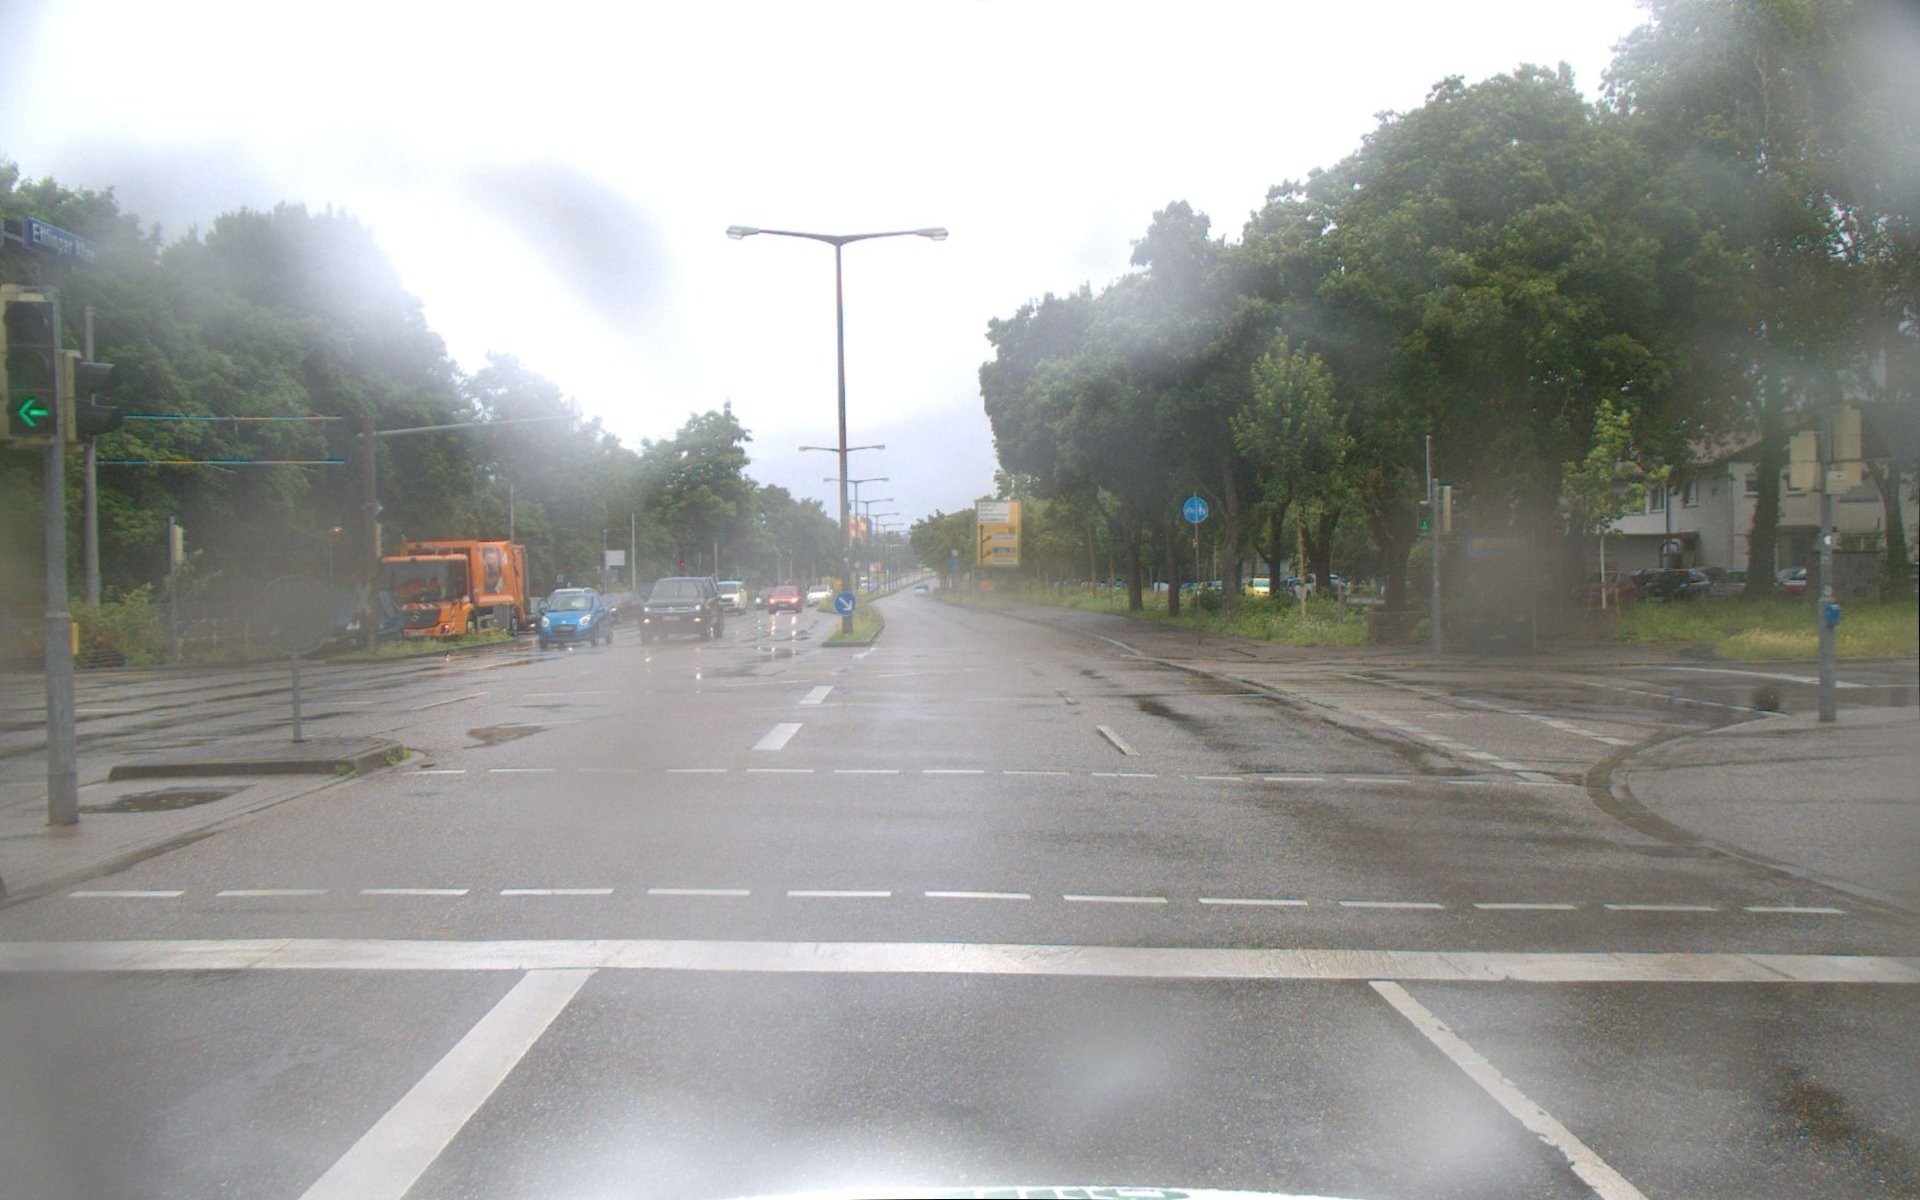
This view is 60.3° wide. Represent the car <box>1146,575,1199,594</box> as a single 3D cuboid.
[{"bbox_3d":[19.637,-1.452,152.776,4.483,1.673,1.997,1,0,-7],"label":"car"}]

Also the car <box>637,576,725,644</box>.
[{"bbox_3d":[-8.007,0.246,47.931,1.769,1.804,5.087,-2,1,-2],"label":"car"}]

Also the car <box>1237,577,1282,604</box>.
[{"bbox_3d":[17.364,-0.552,96.001,1.605,1.512,4.070,1,0,-4],"label":"car"}]

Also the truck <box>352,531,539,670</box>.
[{"bbox_3d":[-17.208,0.023,56.301,3.316,4.240,10.403,1,0,-2],"label":"truck"}]

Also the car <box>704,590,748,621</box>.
[{"bbox_3d":[-13.070,0.306,92.428,1.855,1.639,4.499,-1,1,-1],"label":"car"}]

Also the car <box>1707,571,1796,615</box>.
[{"bbox_3d":[27.822,-0.224,58.091,3.723,1.474,1.643,1,0,-44],"label":"car"}]

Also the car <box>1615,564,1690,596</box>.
[{"bbox_3d":[30.396,-0.879,72.707,1.541,1.339,3.699,1,0,-4],"label":"car"}]

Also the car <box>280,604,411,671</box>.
[{"bbox_3d":[-17.084,1.008,46.235,1.953,1.739,4.526,1,0,0],"label":"car"}]

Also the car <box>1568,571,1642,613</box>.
[{"bbox_3d":[24.005,-0.280,61.513,1.637,1.474,3.736,1,0,37],"label":"car"}]

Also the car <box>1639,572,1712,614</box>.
[{"bbox_3d":[26.075,-0.249,60.240,1.637,1.474,3.736,1,0,37],"label":"car"}]

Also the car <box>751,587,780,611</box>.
[{"bbox_3d":[-14.452,-0.098,123.260,1.672,1.670,4.330,-3,1,-1],"label":"car"}]

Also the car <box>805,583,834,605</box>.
[{"bbox_3d":[-10.920,-0.475,129.004,1.921,1.645,4.696,-2,1,-2],"label":"car"}]

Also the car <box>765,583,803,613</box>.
[{"bbox_3d":[-10.018,-0.105,94.459,1.765,1.597,4.427,-2,0,-2],"label":"car"}]

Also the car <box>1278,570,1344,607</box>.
[{"bbox_3d":[17.460,-0.573,82.516,1.954,1.747,4.875,-1,0,-4],"label":"car"}]

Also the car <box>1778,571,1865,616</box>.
[{"bbox_3d":[29.468,-0.200,56.546,3.723,1.474,1.577,1,0,-44],"label":"car"}]

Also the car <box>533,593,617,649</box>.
[{"bbox_3d":[-10.883,0.575,46.933,1.608,1.452,3.997,-3,0,-4],"label":"car"}]

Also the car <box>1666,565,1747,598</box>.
[{"bbox_3d":[32.894,-0.793,72.969,1.552,1.409,3.997,1,0,-4],"label":"car"}]

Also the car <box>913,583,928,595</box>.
[{"bbox_3d":[-5.096,-1.483,214.495,1.868,1.541,3.999,-1,1,-1],"label":"car"}]
